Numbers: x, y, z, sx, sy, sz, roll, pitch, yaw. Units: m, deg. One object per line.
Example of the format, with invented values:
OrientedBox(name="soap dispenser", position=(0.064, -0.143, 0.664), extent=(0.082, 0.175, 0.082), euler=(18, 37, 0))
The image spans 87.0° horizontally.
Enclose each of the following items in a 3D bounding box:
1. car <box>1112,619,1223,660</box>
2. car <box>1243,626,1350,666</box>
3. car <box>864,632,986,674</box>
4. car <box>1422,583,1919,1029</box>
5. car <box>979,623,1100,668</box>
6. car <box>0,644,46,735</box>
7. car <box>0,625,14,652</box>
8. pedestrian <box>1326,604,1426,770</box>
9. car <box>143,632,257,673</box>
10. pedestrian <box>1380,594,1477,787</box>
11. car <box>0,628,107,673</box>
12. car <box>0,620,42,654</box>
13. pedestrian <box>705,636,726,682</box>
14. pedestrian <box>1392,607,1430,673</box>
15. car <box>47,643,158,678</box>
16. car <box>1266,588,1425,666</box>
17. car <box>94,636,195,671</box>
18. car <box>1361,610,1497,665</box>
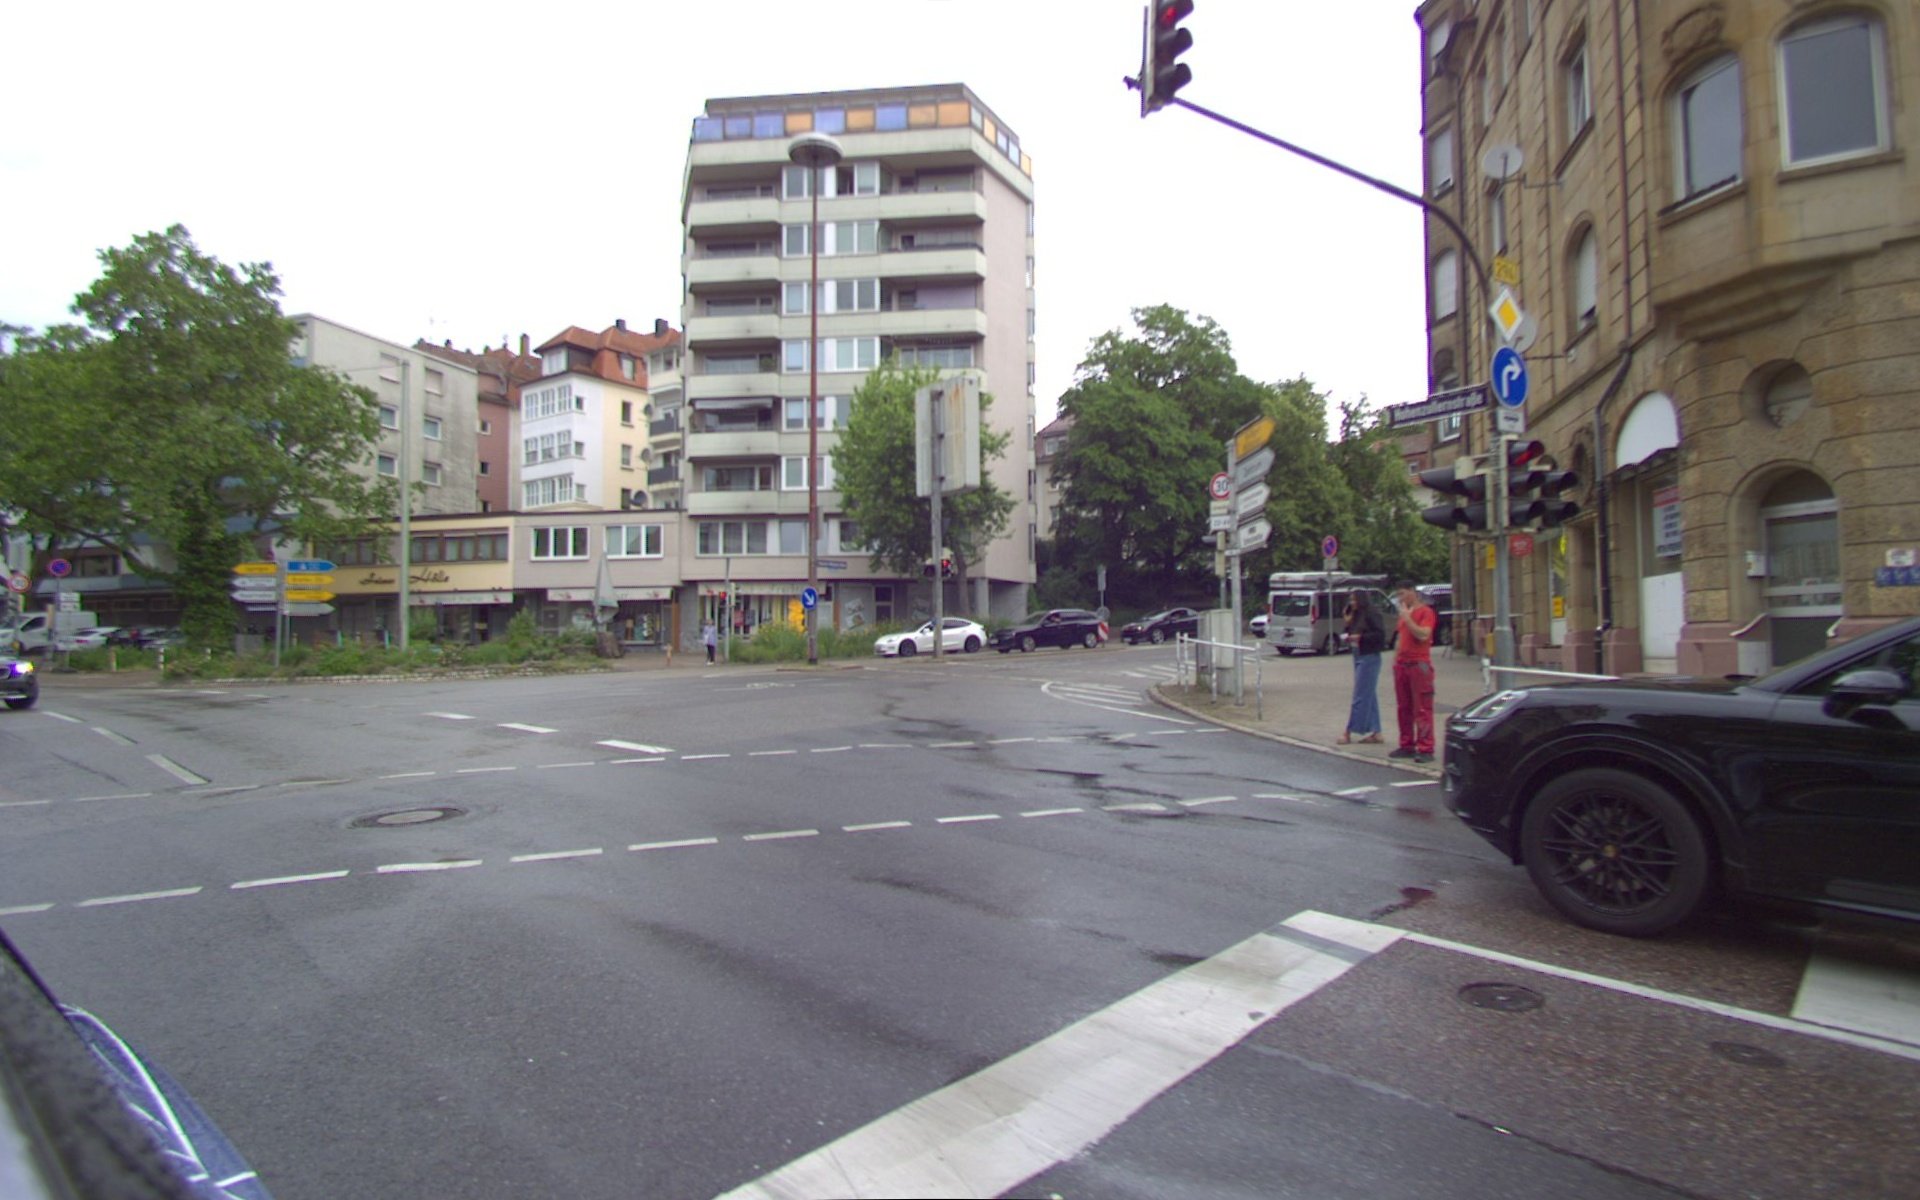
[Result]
OrientedBox(name="car", position=(8.015, 1.503, 39.077), extent=(3.954, 1.503, 1.772), euler=(0, -3, -28))
OrientedBox(name="car", position=(13.977, 1.889, 42.048), extent=(4.228, 1.549, 1.744), euler=(0, -3, -28))
OrientedBox(name="car", position=(-1.338, 2.003, 39.191), extent=(4.317, 1.503, 1.920), euler=(0, -1, -28))
OrientedBox(name="car", position=(4.748, 0.821, 4.148), extent=(1.941, 1.706, 4.814), euler=(3, -2, -42))
OrientedBox(name="car", position=(2.834, 1.611, 36.070), extent=(3.954, 1.503, 1.772), euler=(0, -3, -28))
OrientedBox(name="car", position=(-18.459, 1.575, 18.302), extent=(4.200, 1.546, 1.739), euler=(-1, -2, 31))
OrientedBox(name="car", position=(-51.281, 1.967, 51.862), extent=(1.673, 1.416, 3.824), euler=(1, -2, 10))
OrientedBox(name="pedestrian", position=(4.529, 0.914, 11.016), extent=(0.829, 1.715, 0.630), euler=(-1, -2, 42))
OrientedBox(name="car", position=(-34.320, 2.329, 45.863), extent=(1.915, 1.655, 4.214), euler=(1, -1, 2))
OrientedBox(name="pedestrian", position=(4.548, 0.845, 9.828), extent=(0.516, 1.787, 0.694), euler=(1, -2, -44))
OrientedBox(name="car", position=(-44.169, 2.361, 48.469), extent=(1.860, 1.992, 4.959), euler=(1, -1, 11))
OrientedBox(name="car", position=(-48.815, 1.843, 50.701), extent=(1.788, 1.702, 3.821), euler=(1, -2, 12))
OrientedBox(name="pedestrian", position=(-9.114, 2.204, 37.766), extent=(0.612, 1.706, 0.624), euler=(-1, -2, 5))
OrientedBox(name="pedestrian", position=(11.643, 1.018, 26.142), extent=(0.781, 1.674, 0.663), euler=(-1, -2, 34))
OrientedBox(name="car", position=(-39.409, 2.760, 46.603), extent=(1.790, 1.426, 3.699), euler=(1, -1, 6))
OrientedBox(name="car", position=(11.649, 0.802, 30.526), extent=(4.722, 2.185, 2.006), euler=(1, -1, -31))
OrientedBox(name="car", position=(-37.211, 2.402, 46.279), extent=(1.609, 1.426, 3.620), euler=(1, -1, 2))
OrientedBox(name="car", position=(15.461, 1.193, 33.325), extent=(4.306, 1.717, 2.006), euler=(1, -1, -31))
